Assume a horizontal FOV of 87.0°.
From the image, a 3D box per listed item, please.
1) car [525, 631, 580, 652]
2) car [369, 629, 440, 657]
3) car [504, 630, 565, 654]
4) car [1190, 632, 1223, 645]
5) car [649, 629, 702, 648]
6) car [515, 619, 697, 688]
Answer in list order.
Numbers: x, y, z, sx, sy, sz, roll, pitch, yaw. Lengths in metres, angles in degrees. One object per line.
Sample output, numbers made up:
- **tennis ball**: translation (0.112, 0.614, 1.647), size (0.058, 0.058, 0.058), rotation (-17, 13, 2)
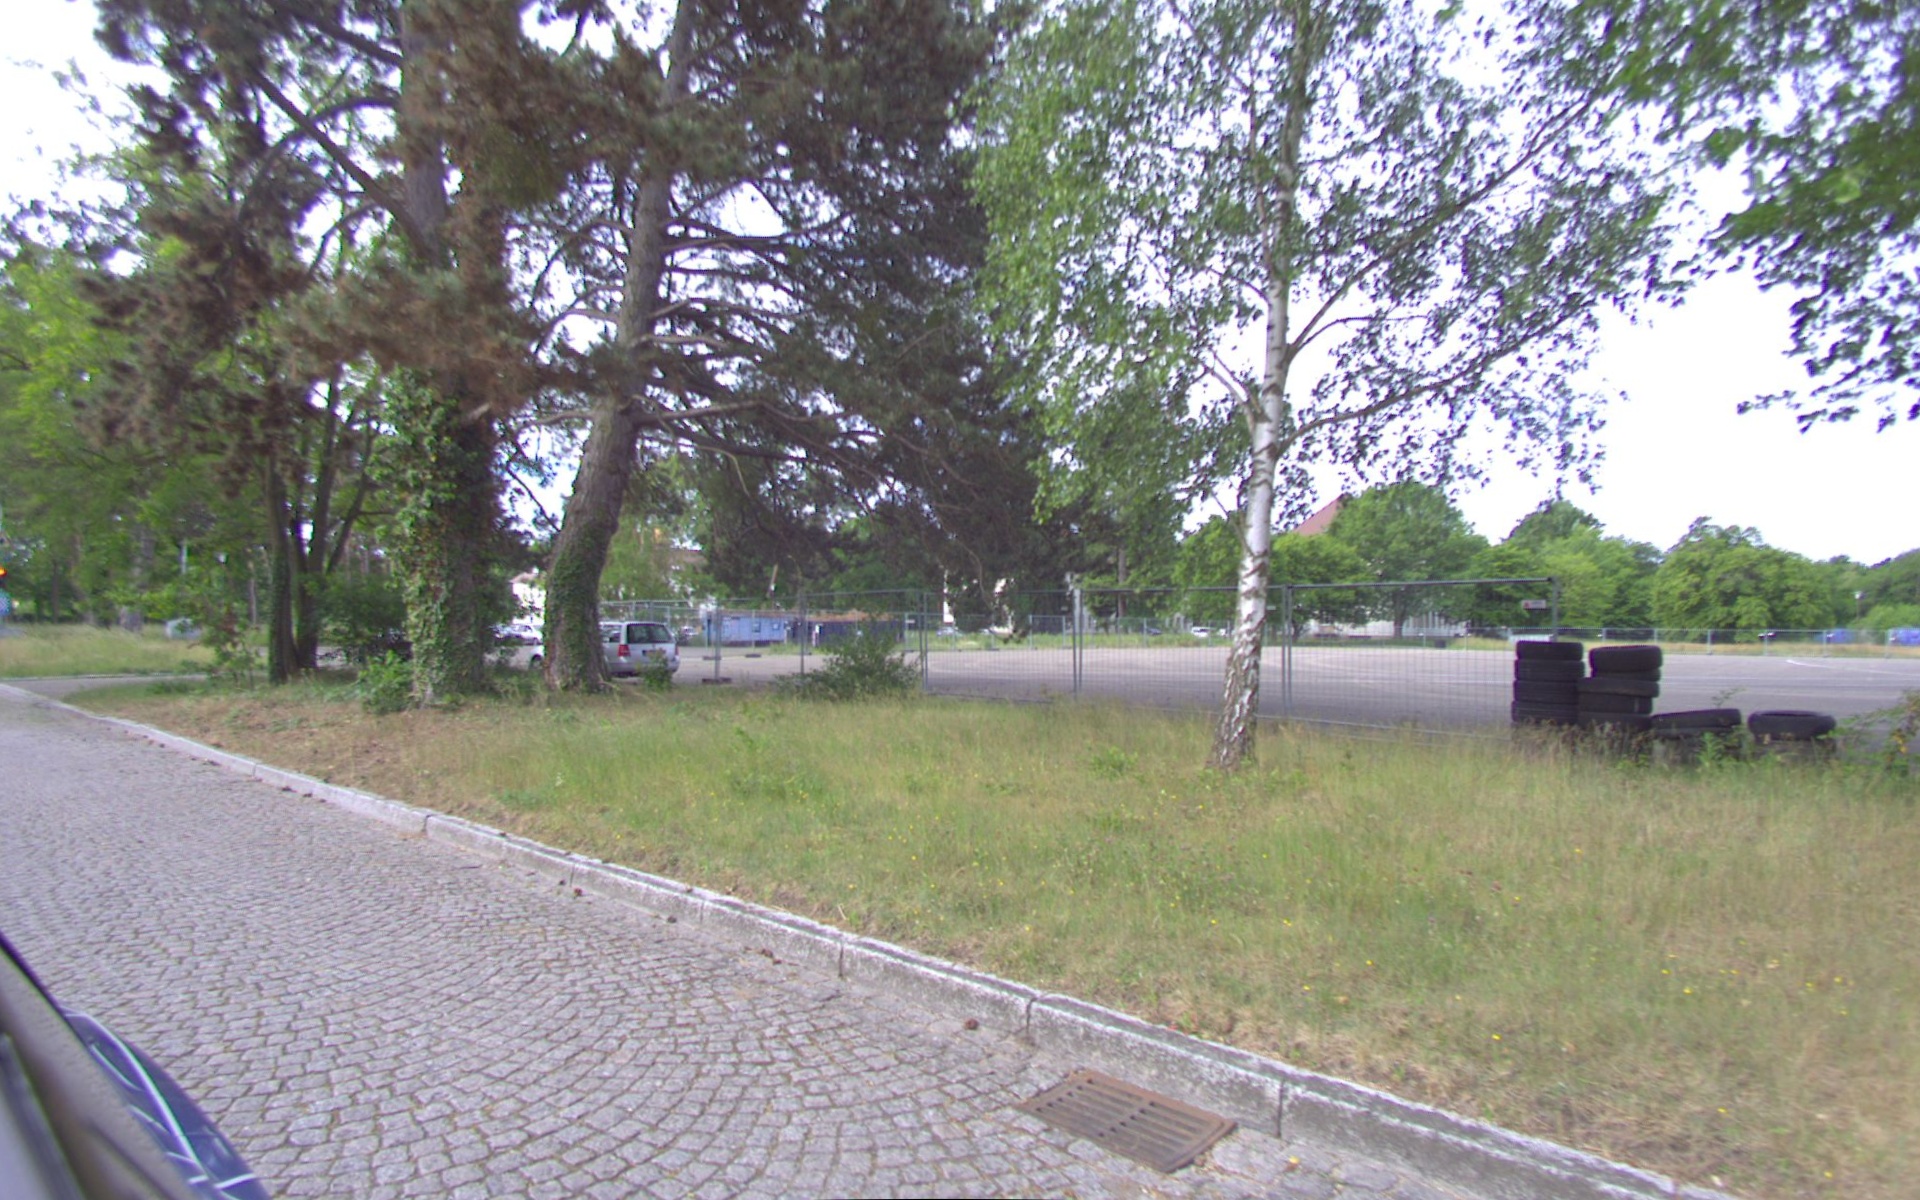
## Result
- **car**: translation (-29.767, 2.996, 73.885), size (4.396, 1.486, 1.807), rotation (-1, -2, 38)
- **car**: translation (-30.309, 2.313, 55.188), size (4.314, 1.436, 1.807), rotation (-1, -2, 38)
- **car**: translation (-26.028, 2.521, 61.848), size (4.031, 1.410, 1.617), rotation (-1, -2, 38)
- **car**: translation (35.678, 5.525, 146.393), size (4.288, 1.735, 1.805), rotation (-1, 0, 41)
- **car**: translation (-23.069, 3.075, 82.061), size (4.393, 1.486, 1.808), rotation (-1, -2, 36)
- **car**: translation (-8.174, 1.215, 23.199), size (4.415, 1.427, 1.807), rotation (-1, -5, 38)
